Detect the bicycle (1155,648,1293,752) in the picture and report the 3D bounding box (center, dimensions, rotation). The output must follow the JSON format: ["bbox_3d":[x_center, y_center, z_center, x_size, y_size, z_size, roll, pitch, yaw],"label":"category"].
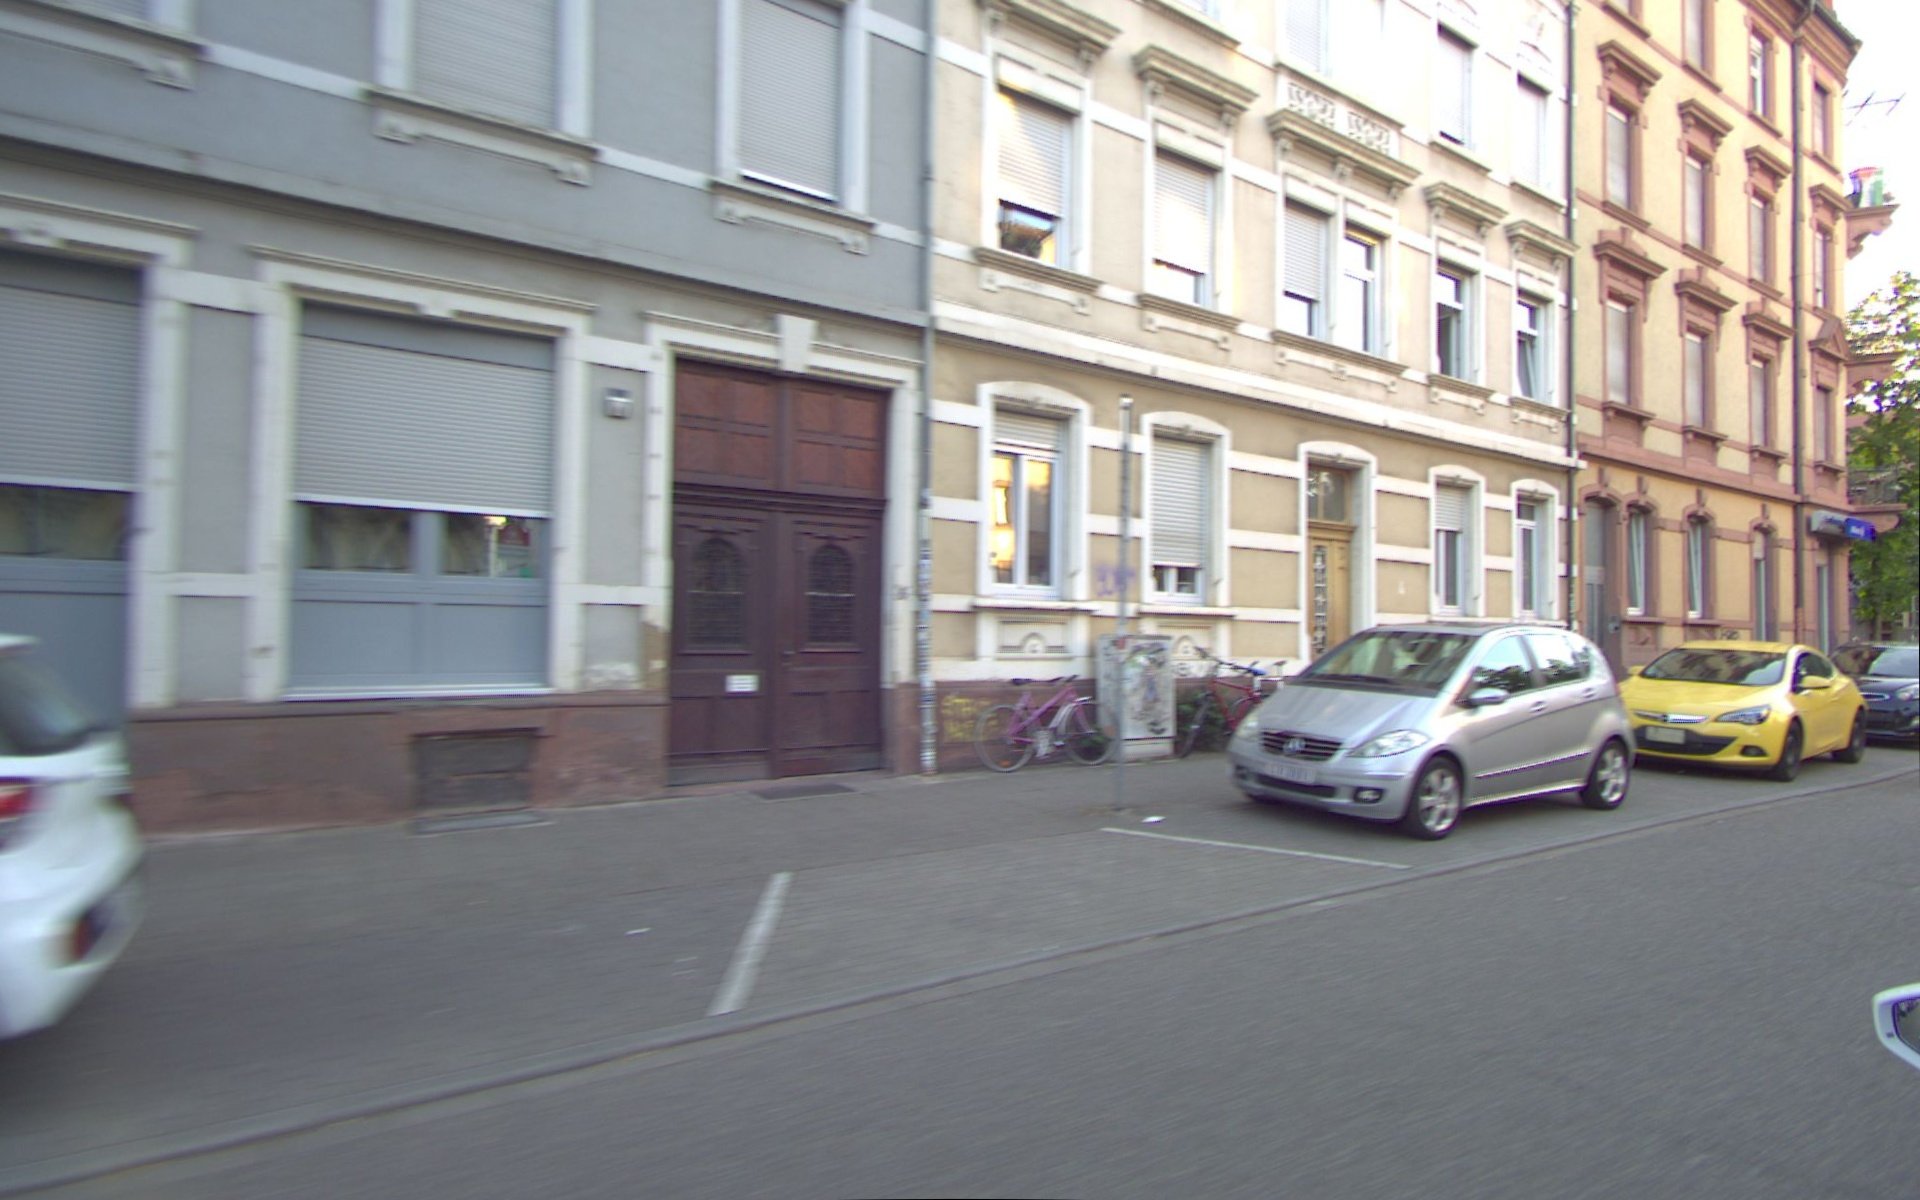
[{"bbox_3d":[3.187,1.163,12.062,1.843,1.155,0.477,1,-2,-32],"label":"bicycle"}]

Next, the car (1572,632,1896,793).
[{"bbox_3d":[9.528,1.212,12.227,4.754,1.546,1.826,2,0,-36],"label":"car"}]

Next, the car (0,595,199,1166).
[{"bbox_3d":[-4.568,0.758,2.668,3.885,1.597,1.743,2,0,-33],"label":"car"}]

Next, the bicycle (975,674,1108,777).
[{"bbox_3d":[0.866,1.281,10.497,1.451,0.989,0.398,2,-5,-36],"label":"bicycle"}]

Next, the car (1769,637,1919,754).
[{"bbox_3d":[13.852,1.352,15.160,3.708,1.511,1.716,2,-1,-37],"label":"car"}]

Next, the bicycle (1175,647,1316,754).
[{"bbox_3d":[3.365,1.140,11.774,1.843,1.155,0.477,1,-2,-32],"label":"bicycle"}]

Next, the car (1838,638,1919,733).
[{"bbox_3d":[17.121,1.467,17.655,3.576,1.511,1.673,2,-1,-34],"label":"car"}]

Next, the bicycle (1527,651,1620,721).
[{"bbox_3d":[10.161,1.398,16.613,1.816,1.084,0.657,2,-2,-36],"label":"bicycle"}]

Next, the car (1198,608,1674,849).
[{"bbox_3d":[4.206,0.934,8.713,4.099,1.614,1.790,2,0,-32],"label":"car"}]

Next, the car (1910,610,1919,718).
[{"bbox_3d":[21.094,1.302,20.008,4.951,2.084,2.029,2,-1,-33],"label":"car"}]
